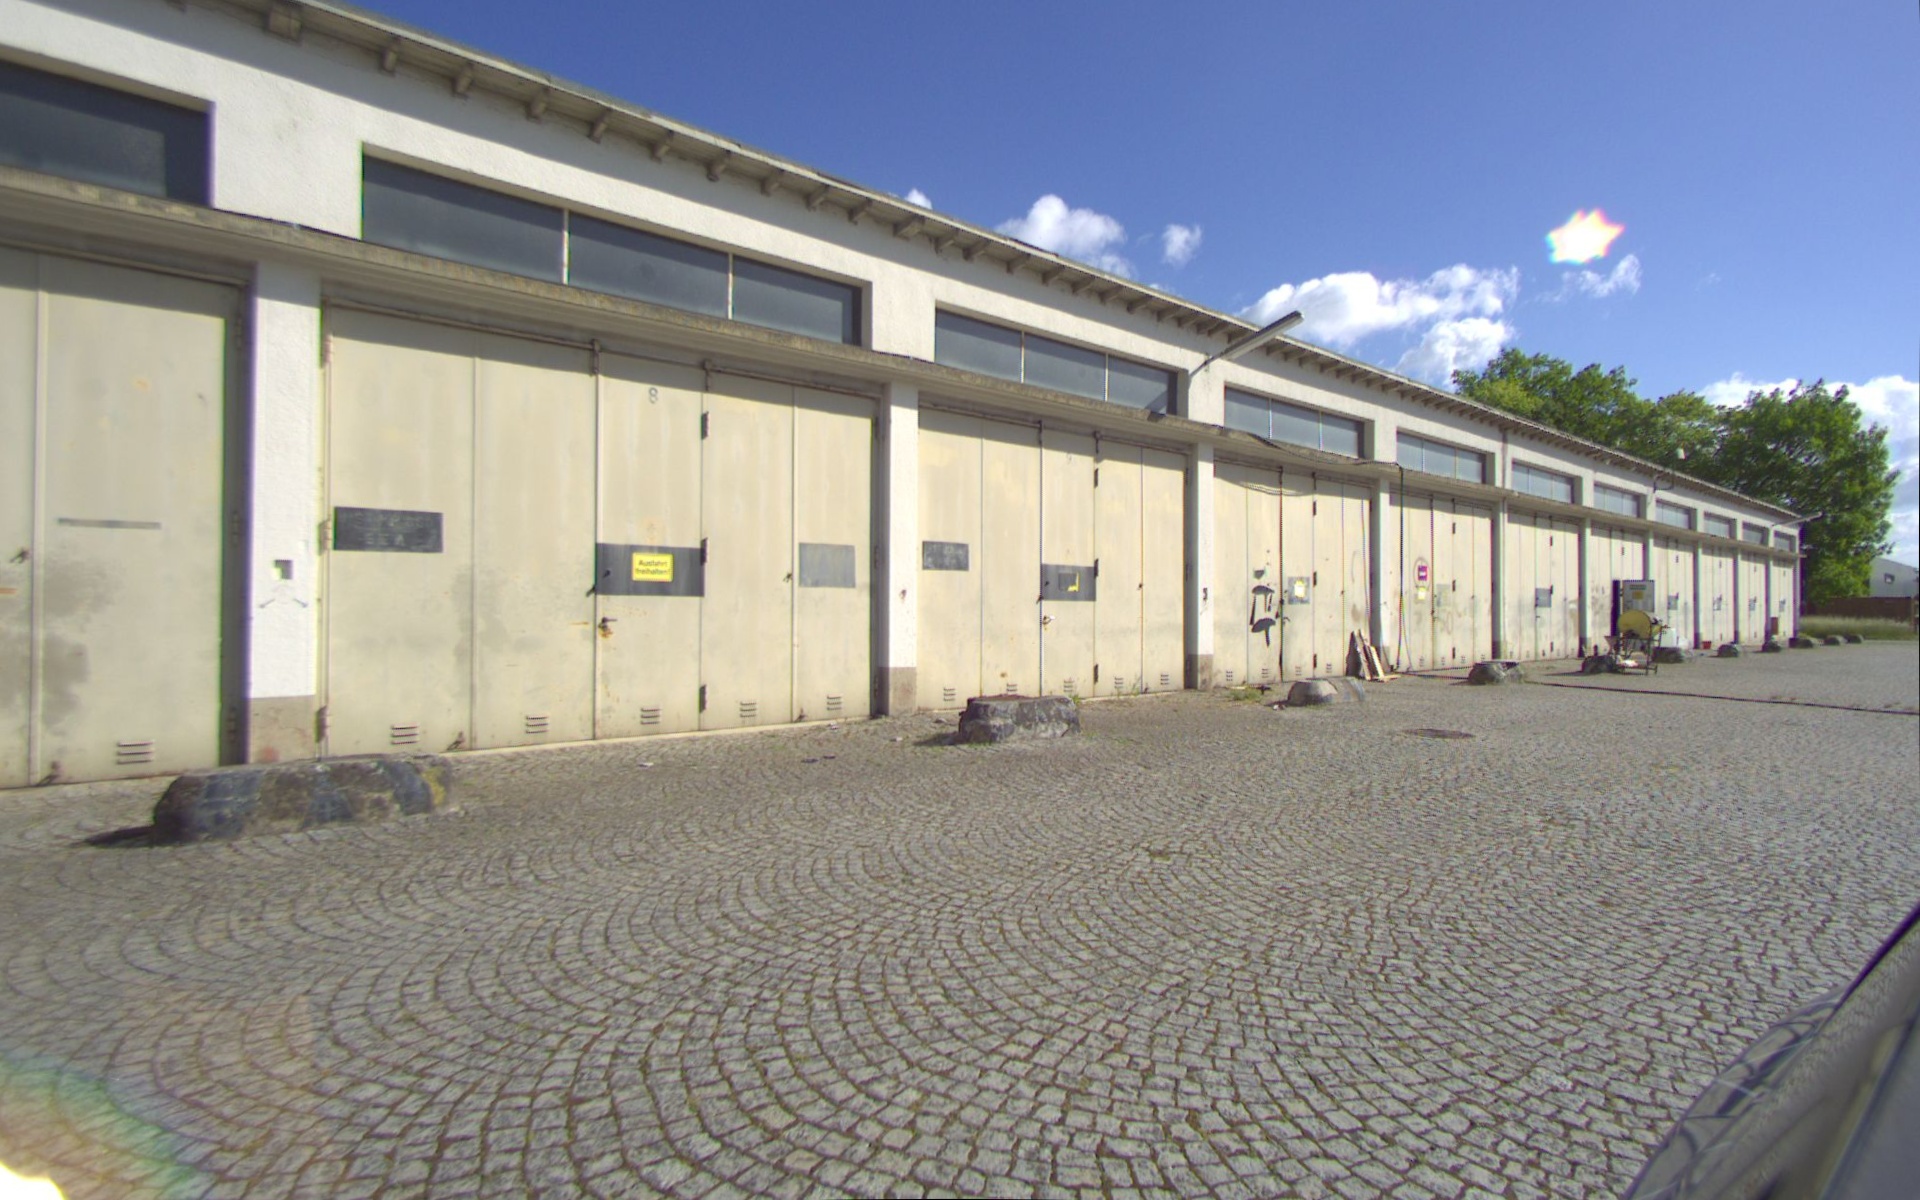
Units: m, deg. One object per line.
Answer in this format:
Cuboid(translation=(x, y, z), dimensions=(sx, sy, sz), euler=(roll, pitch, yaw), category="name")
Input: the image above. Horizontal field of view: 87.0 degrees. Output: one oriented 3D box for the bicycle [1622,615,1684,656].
Cuboid(translation=(19.038, 0.957, 27.802), dimensions=(1.787, 1.082, 0.667), euler=(0, -1, -29), category="bicycle")
